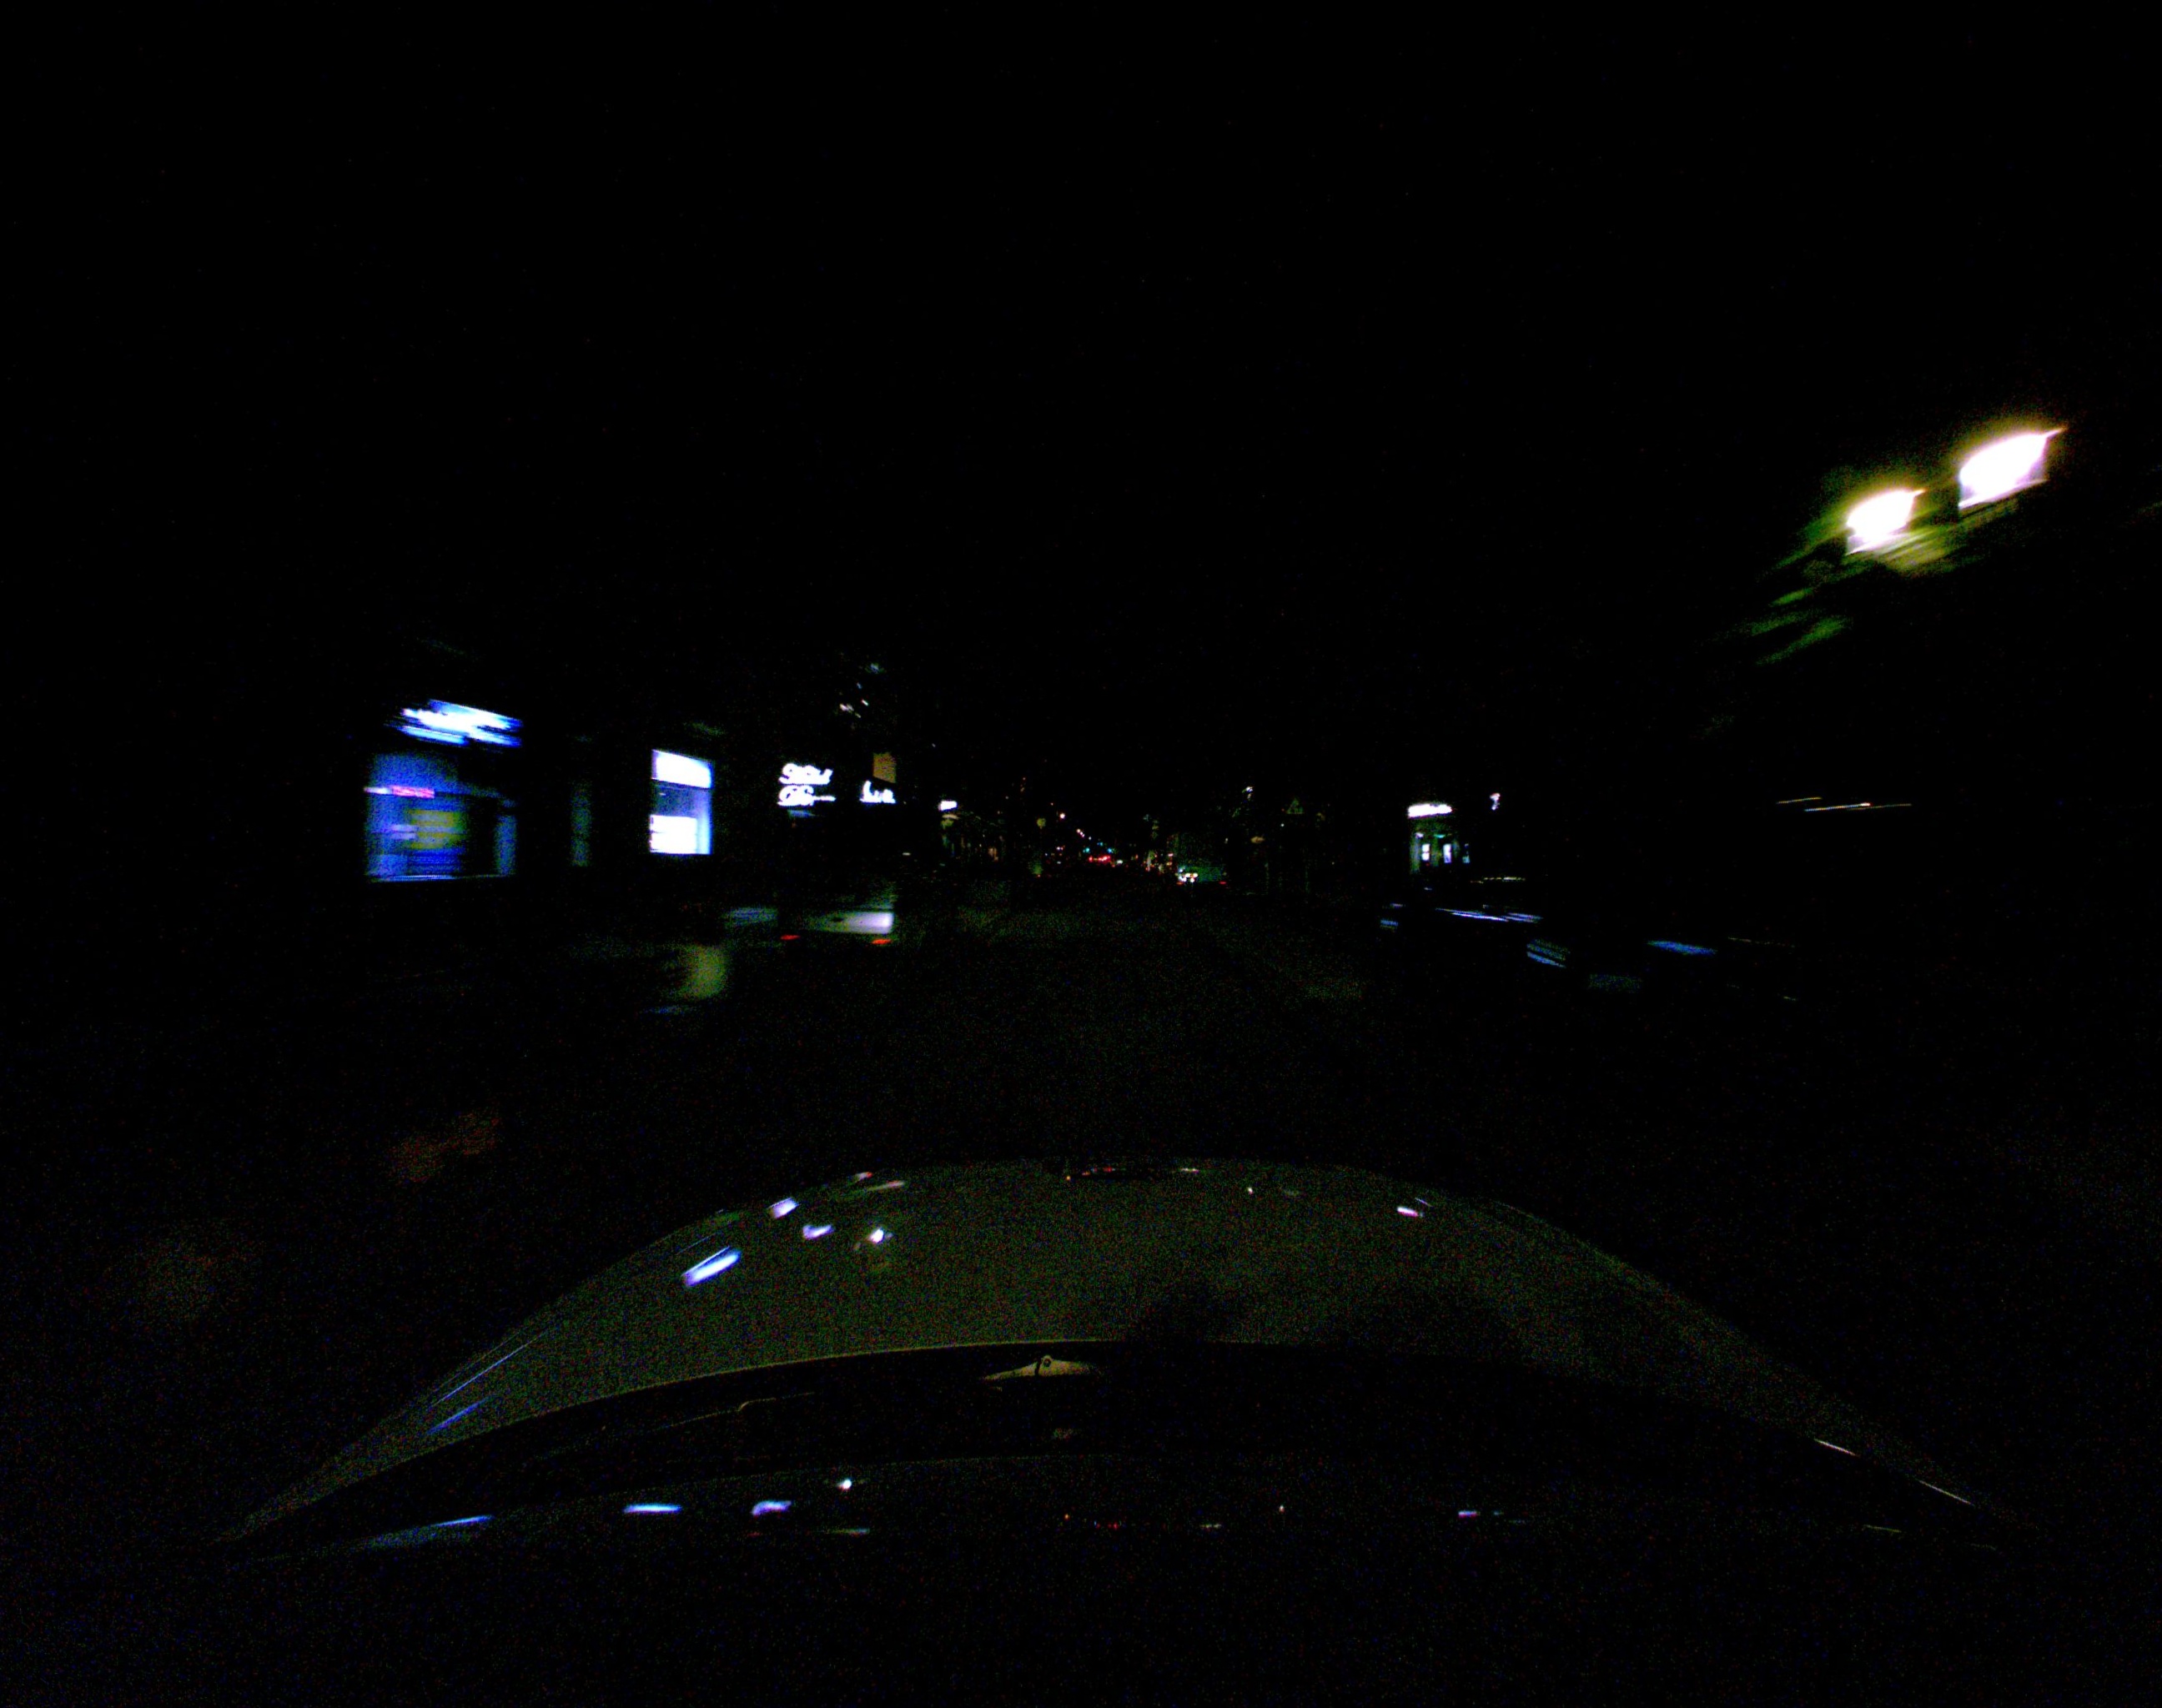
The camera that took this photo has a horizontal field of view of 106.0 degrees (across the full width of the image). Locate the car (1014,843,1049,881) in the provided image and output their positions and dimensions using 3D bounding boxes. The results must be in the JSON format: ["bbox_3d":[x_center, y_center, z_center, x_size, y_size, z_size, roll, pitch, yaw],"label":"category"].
[{"bbox_3d":[-2.949,0.442,48.075,1.849,2.087,5.083,3,0,-4],"label":"car"}]

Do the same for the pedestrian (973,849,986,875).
[{"bbox_3d":[-6.630,0.518,53.275,0.666,1.719,0.909,0,0,1],"label":"pedestrian"}]

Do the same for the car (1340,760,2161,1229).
[{"bbox_3d":[3.503,0.540,5.629,1.901,1.803,4.937,0,0,0],"label":"car"}]

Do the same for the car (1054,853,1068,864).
[{"bbox_3d":[-2.852,0.641,116.828,1.734,1.413,4.498,2,0,2],"label":"car"}]

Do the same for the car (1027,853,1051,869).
[{"bbox_3d":[-4.046,0.679,79.178,1.800,1.425,4.923,3,0,2],"label":"car"}]

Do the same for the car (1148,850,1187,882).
[{"bbox_3d":[4.692,0.622,44.586,1.679,1.659,4.296,0,0,0],"label":"car"}]

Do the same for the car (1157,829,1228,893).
[{"bbox_3d":[4.262,0.253,31.885,2.127,2.326,5.152,0,0,0],"label":"car"}]

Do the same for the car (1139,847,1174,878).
[{"bbox_3d":[4.649,0.488,50.608,1.783,1.822,4.579,0,0,0],"label":"car"}]

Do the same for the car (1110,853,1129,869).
[{"bbox_3d":[3.691,0.651,78.180,1.811,1.500,4.002,0,0,2],"label":"car"}]

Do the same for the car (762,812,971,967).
[{"bbox_3d":[-3.141,0.461,13.179,1.918,1.965,5.077,2,0,0],"label":"car"}]

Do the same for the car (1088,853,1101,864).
[{"bbox_3d":[2.093,0.677,125.004,1.986,1.643,4.001,0,0,1],"label":"car"}]
